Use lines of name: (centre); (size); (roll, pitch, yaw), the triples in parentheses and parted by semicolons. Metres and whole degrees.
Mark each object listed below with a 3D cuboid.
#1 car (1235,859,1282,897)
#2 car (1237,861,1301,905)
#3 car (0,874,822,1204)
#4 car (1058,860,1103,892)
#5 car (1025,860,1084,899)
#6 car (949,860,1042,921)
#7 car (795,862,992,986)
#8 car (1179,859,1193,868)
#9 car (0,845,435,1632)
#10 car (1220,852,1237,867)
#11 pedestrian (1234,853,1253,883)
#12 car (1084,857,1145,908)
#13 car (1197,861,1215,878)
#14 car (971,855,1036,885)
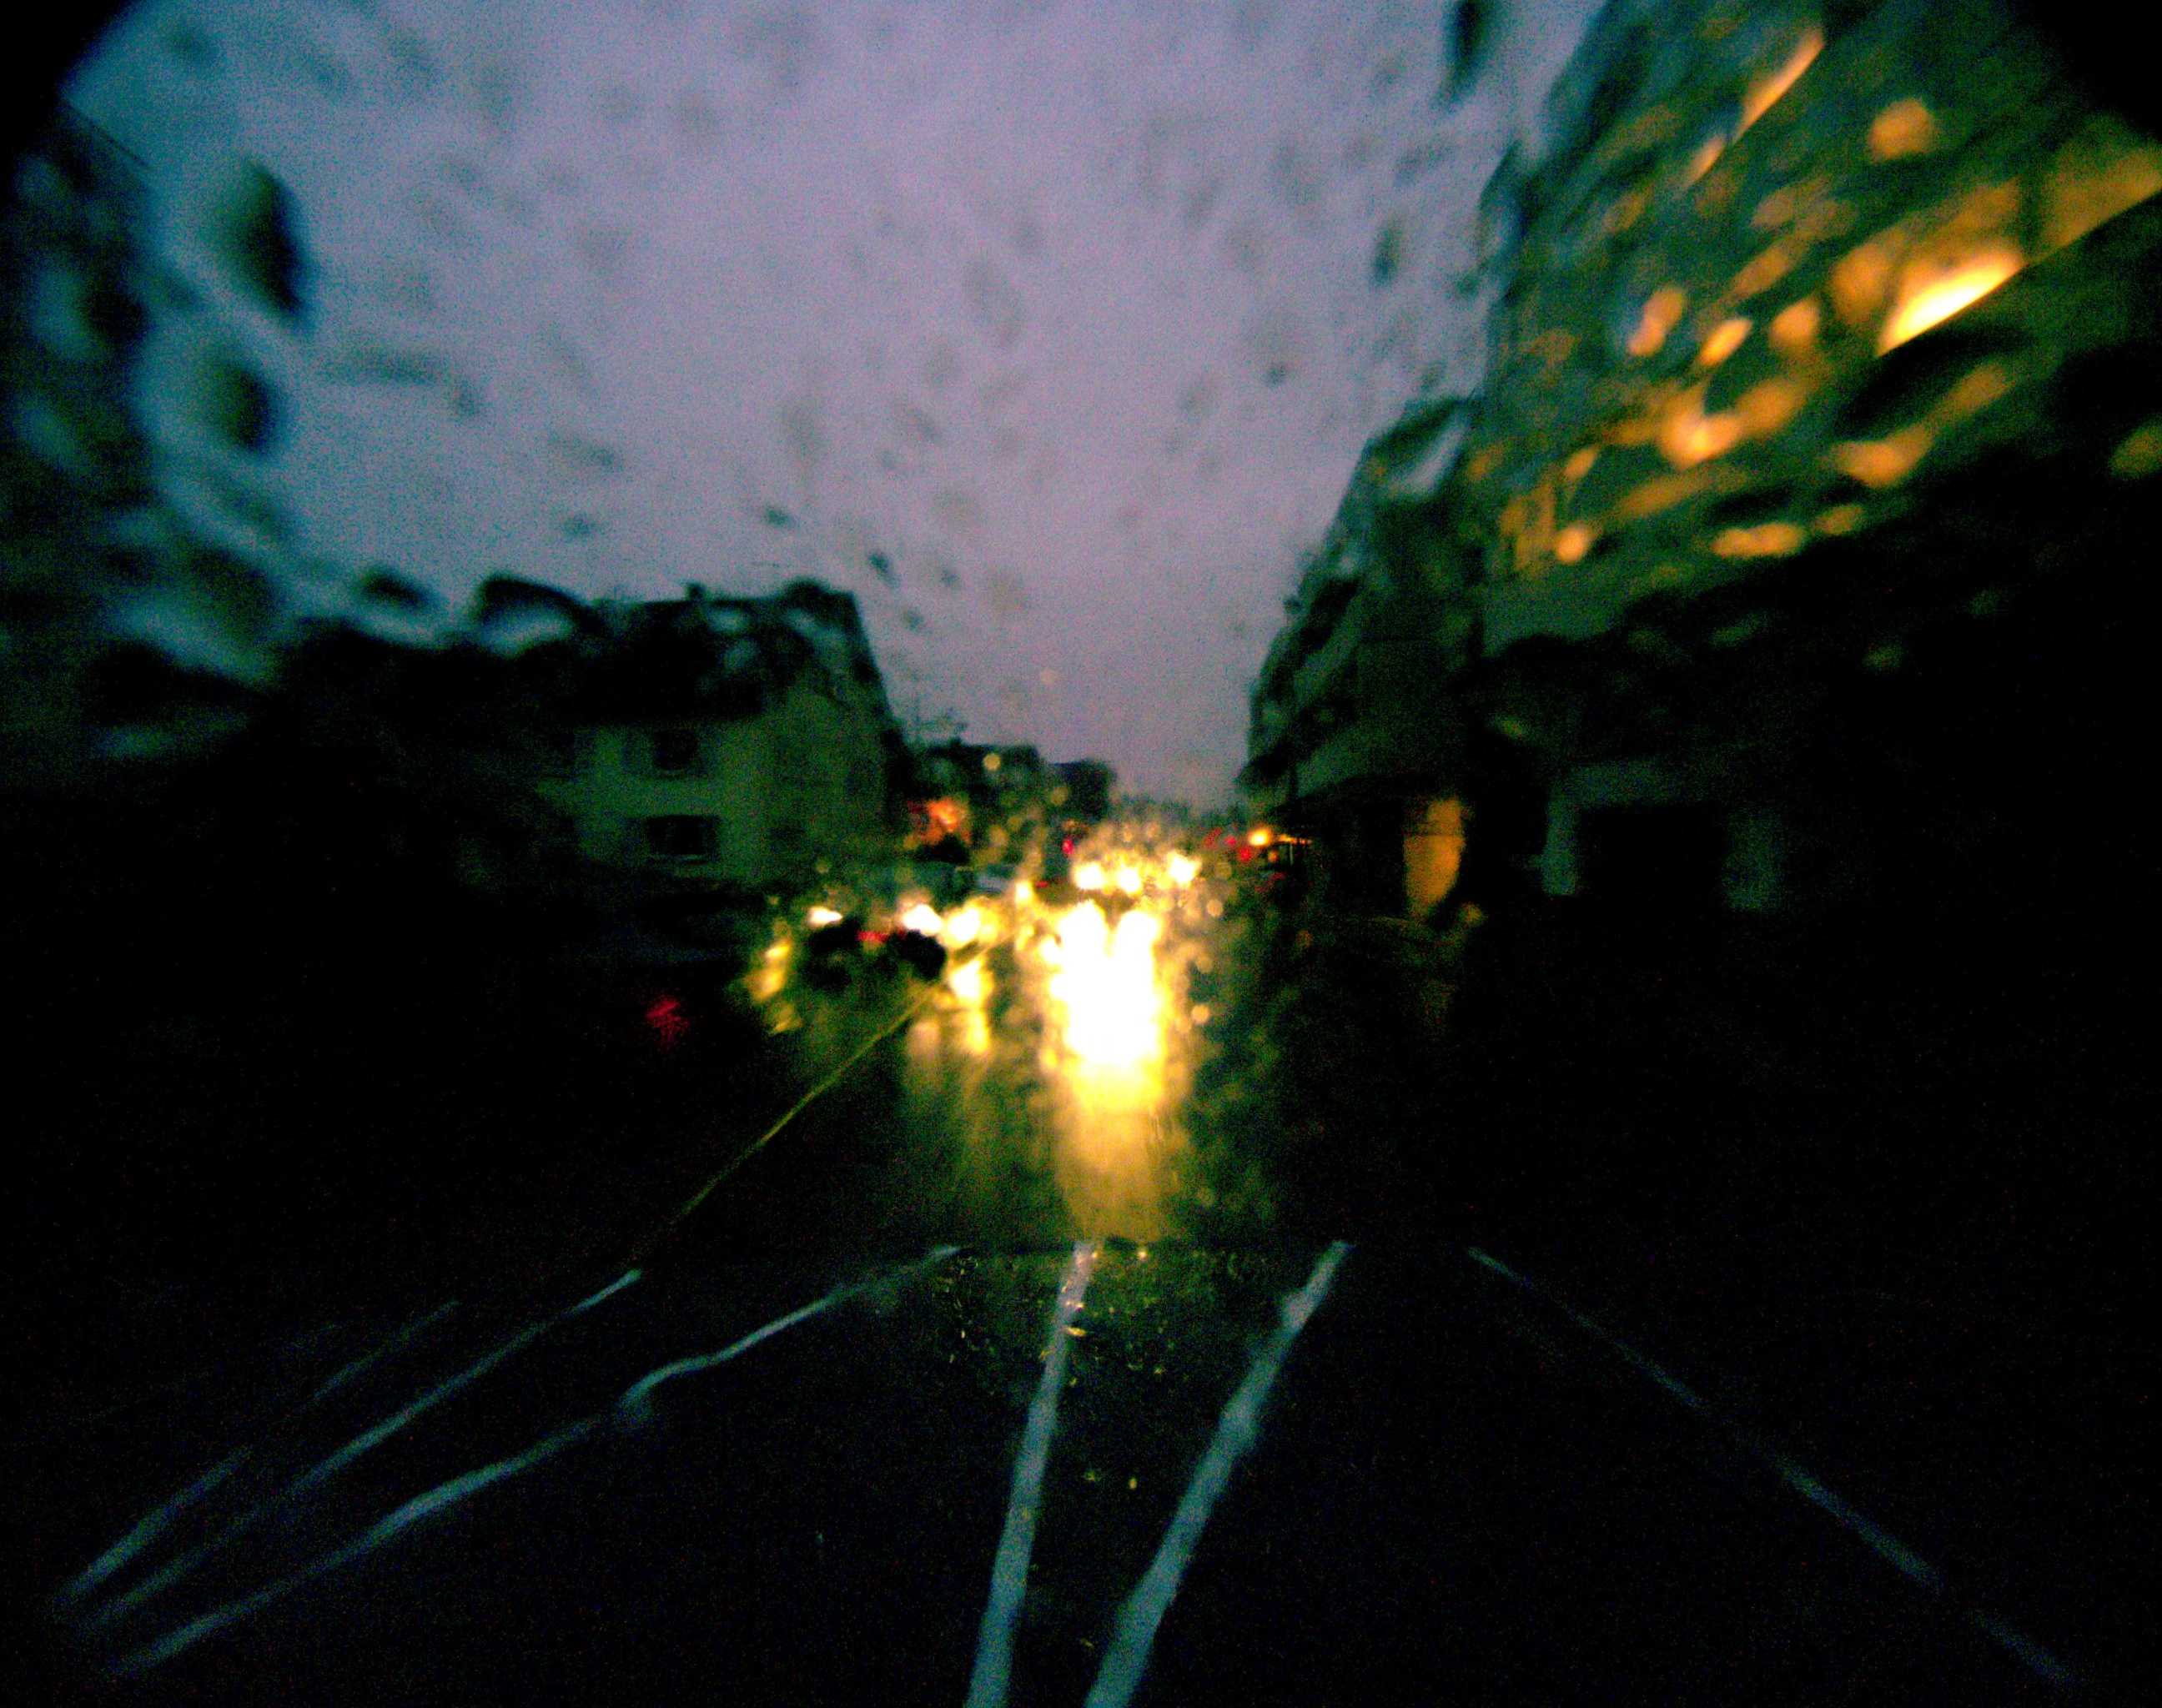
car: (7.774, 1.013, 33.615); (1.618, 1.524, 3.930); (-1, 0, 8)
car: (6.919, 1.020, 28.346); (1.679, 1.438, 4.430); (-2, 0, 6)
car: (-4.137, 0.932, 4.584); (4.479, 1.464, 1.897); (1, 0, -2)
car: (0.031, 1.046, 37.819); (1.629, 1.433, 3.802); (3, 1, 9)
car: (-1.033, 1.033, 32.278); (1.826, 1.415, 4.610); (3, 0, 6)
car: (-2.287, 0.948, 21.496); (1.798, 1.452, 4.532); (2, 0, 4)
car: (-2.720, 0.934, 12.246); (1.887, 1.538, 4.672); (1, 0, 1)
car: (17.101, 1.532, 123.546); (1.796, 1.501, 4.005); (2, 0, 15)
car: (-4.092, 0.790, 1.791); (3.515, 1.671, 1.715); (2, 0, -6)
car: (25.611, 0.961, 131.899); (2.043, 2.643, 4.217); (-2, -1, 23)
pedestrian: (10.706, 0.905, 50.005); (1.200, 1.927, 0.977); (1, 0, 15)
car: (1.258, 0.934, 26.522); (1.878, 1.622, 4.002); (0, 0, 6)
car: (12.939, 1.605, 78.615); (1.724, 1.604, 3.818); (-2, -1, 8)
car: (-4.351, 0.884, 43.036); (3.296, 1.433, 1.687); (3, 1, 6)
